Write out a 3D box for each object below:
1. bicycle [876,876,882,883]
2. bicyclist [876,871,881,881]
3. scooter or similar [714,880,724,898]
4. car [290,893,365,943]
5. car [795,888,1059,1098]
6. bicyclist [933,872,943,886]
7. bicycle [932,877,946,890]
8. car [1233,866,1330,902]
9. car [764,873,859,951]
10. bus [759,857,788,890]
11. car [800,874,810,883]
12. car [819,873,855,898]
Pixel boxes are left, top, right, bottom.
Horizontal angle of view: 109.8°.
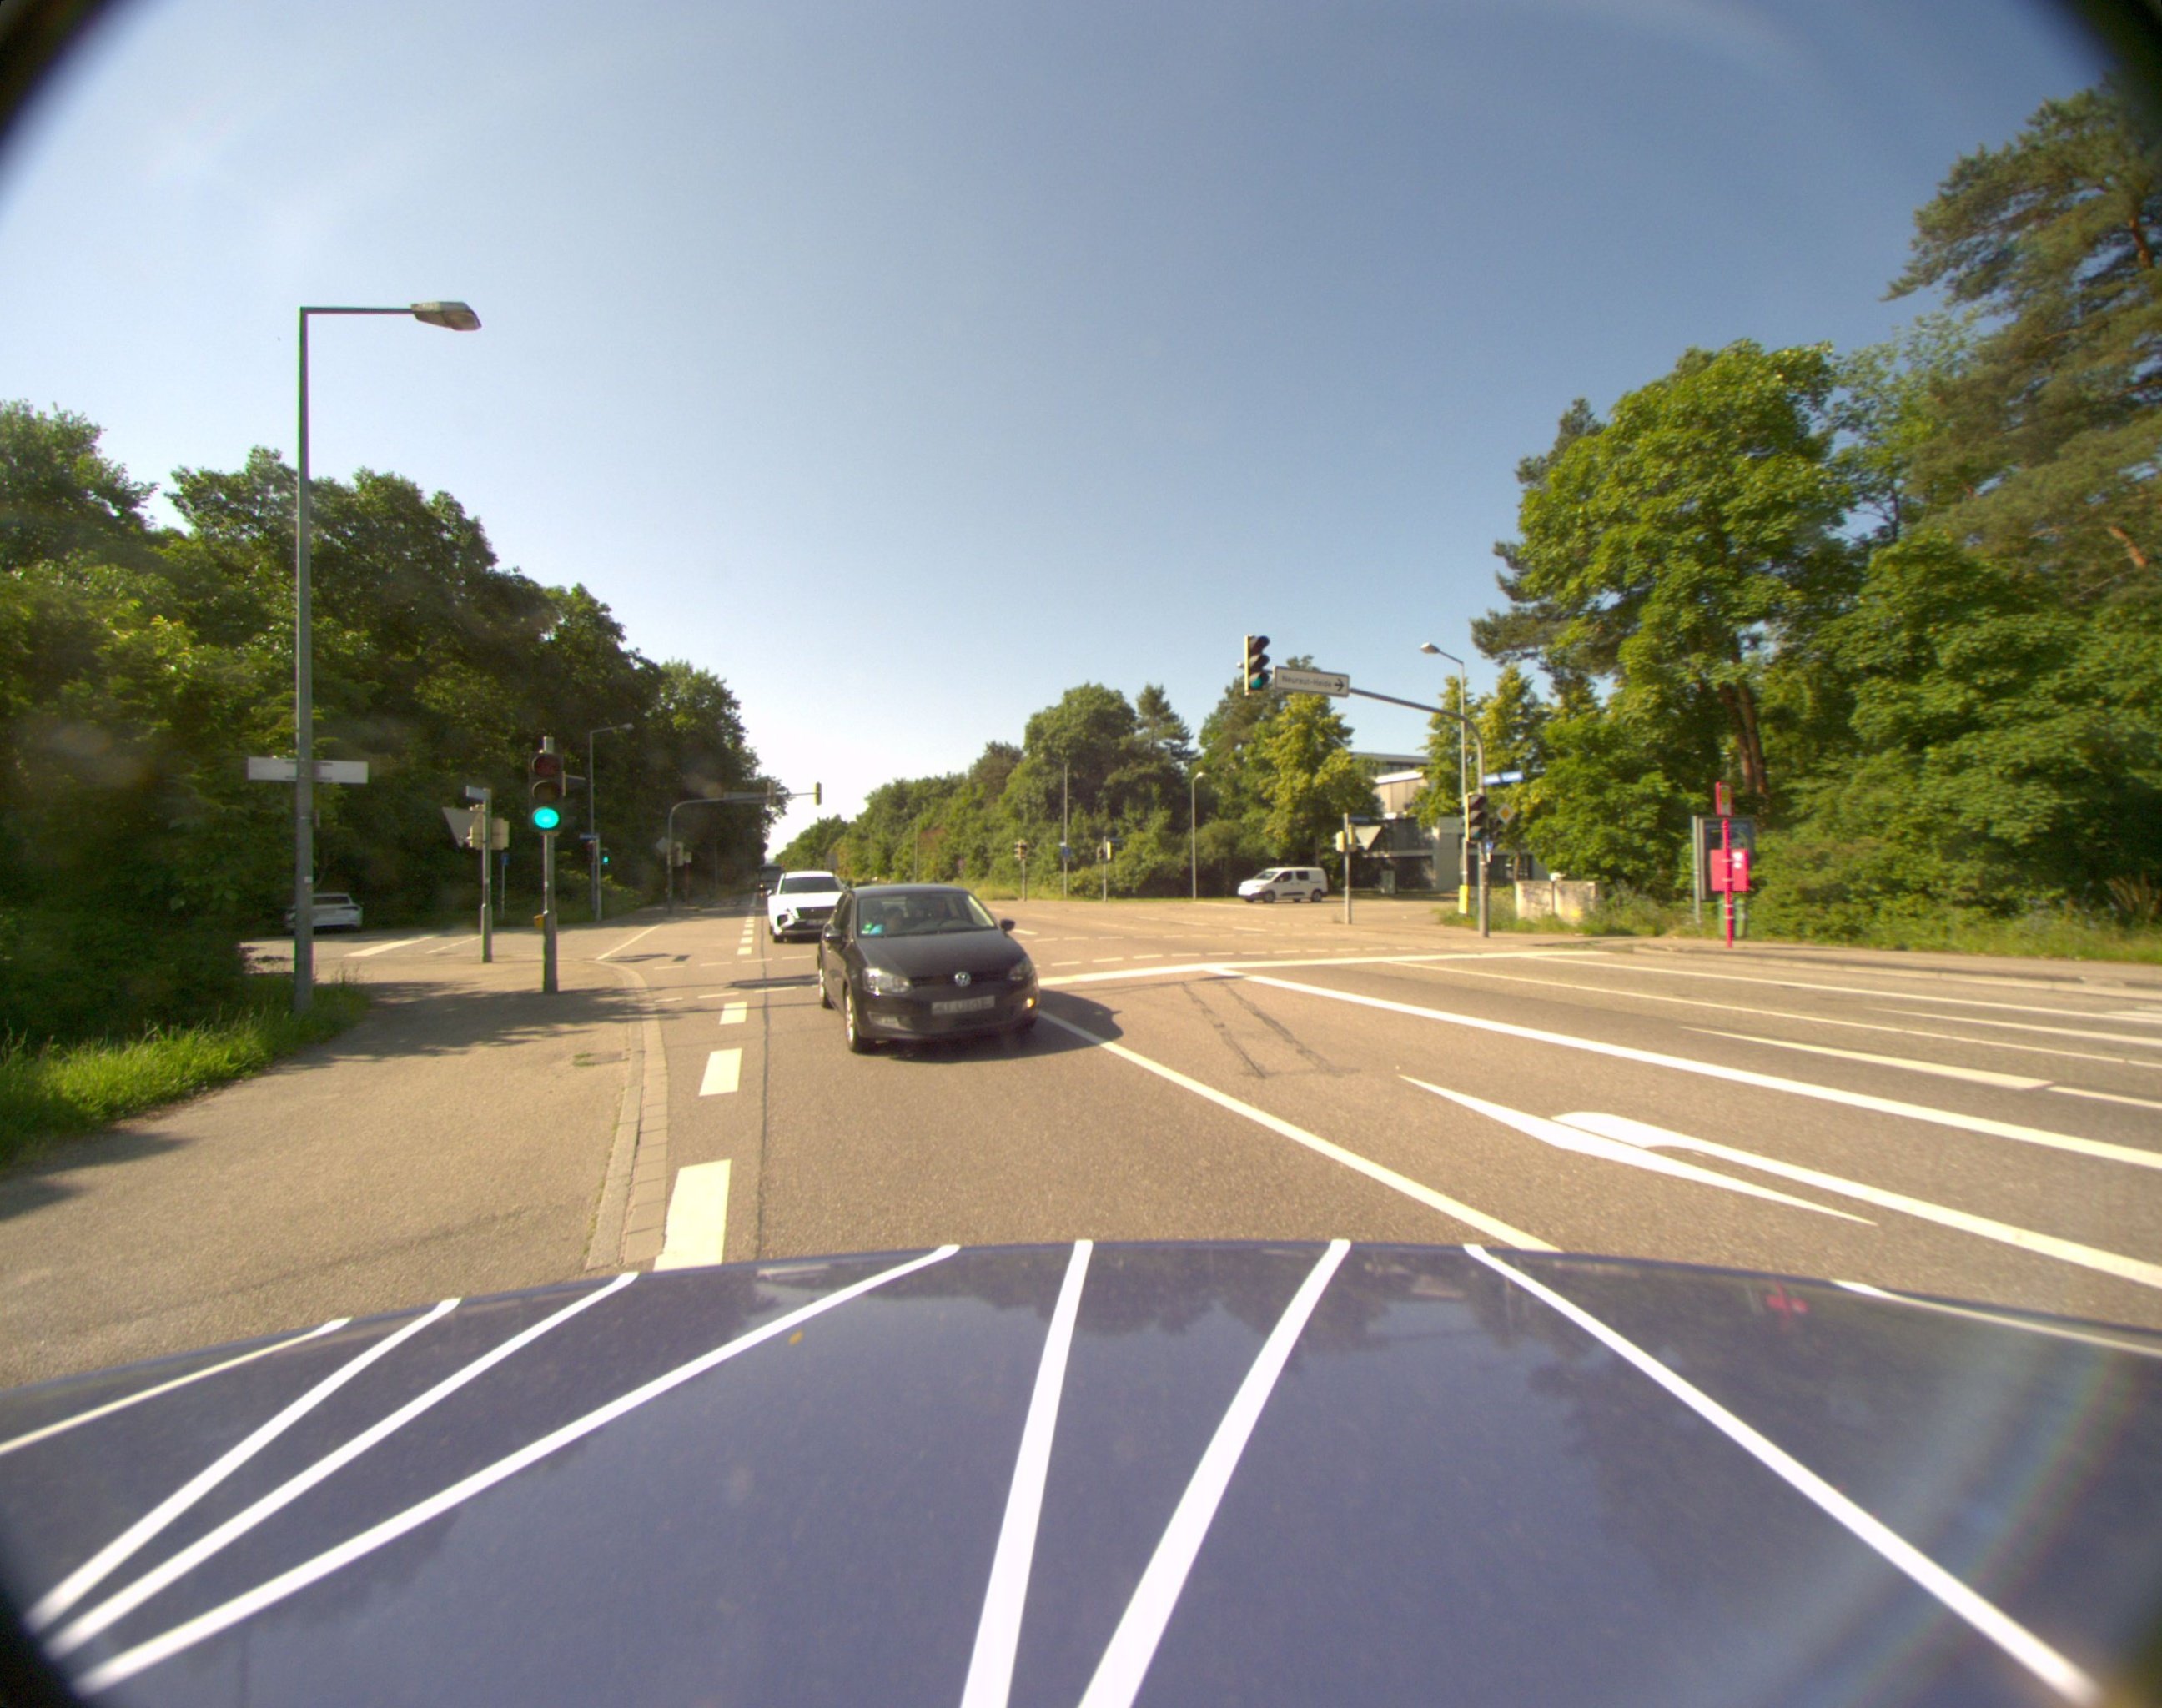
[{"bbox_3d":[-29.007,3.686,109.025,0.607,0.909,2.135,-1,-1,-21],"label":"bicycle"},{"bbox_3d":[-29.052,3.131,109.005,0.613,1.458,0.943,-3,1,-21],"label":"bicyclist"},{"bbox_3d":[-27.108,2.598,56.926,0.402,1.299,1.327,0,-1,-37],"label":"scooter or similar"},{"bbox_3d":[-25.726,2.105,26.046,1.632,1.455,4.603,0,-1,-42],"label":"car"},{"bbox_3d":[-1.844,1.132,7.853,1.653,1.422,4.047,-3,0,-26],"label":"car"},{"bbox_3d":[-13.583,2.364,72.194,0.724,1.303,0.882,-1,-1,-25],"label":"bicyclist"},{"bbox_3d":[-13.533,2.778,72.194,0.736,1.156,2.368,-1,-1,-24],"label":"bicycle"},{"bbox_3d":[10.385,1.519,39.295,4.667,1.767,1.849,1,-1,-22],"label":"car"},{"bbox_3d":[-6.826,1.324,18.973,1.816,1.638,4.299,-2,0,-24],"label":"car"},{"bbox_3d":[-35.277,2.199,87.083,2.787,3.437,7.779,-3,0,-23],"label":"bus"},{"bbox_3d":[-55.456,4.976,152.557,1.799,1.686,4.383,1,-1,-22],"label":"car"},{"bbox_3d":[-15.382,1.976,47.785,1.792,1.416,4.415,-2,-1,-22],"label":"car"}]
